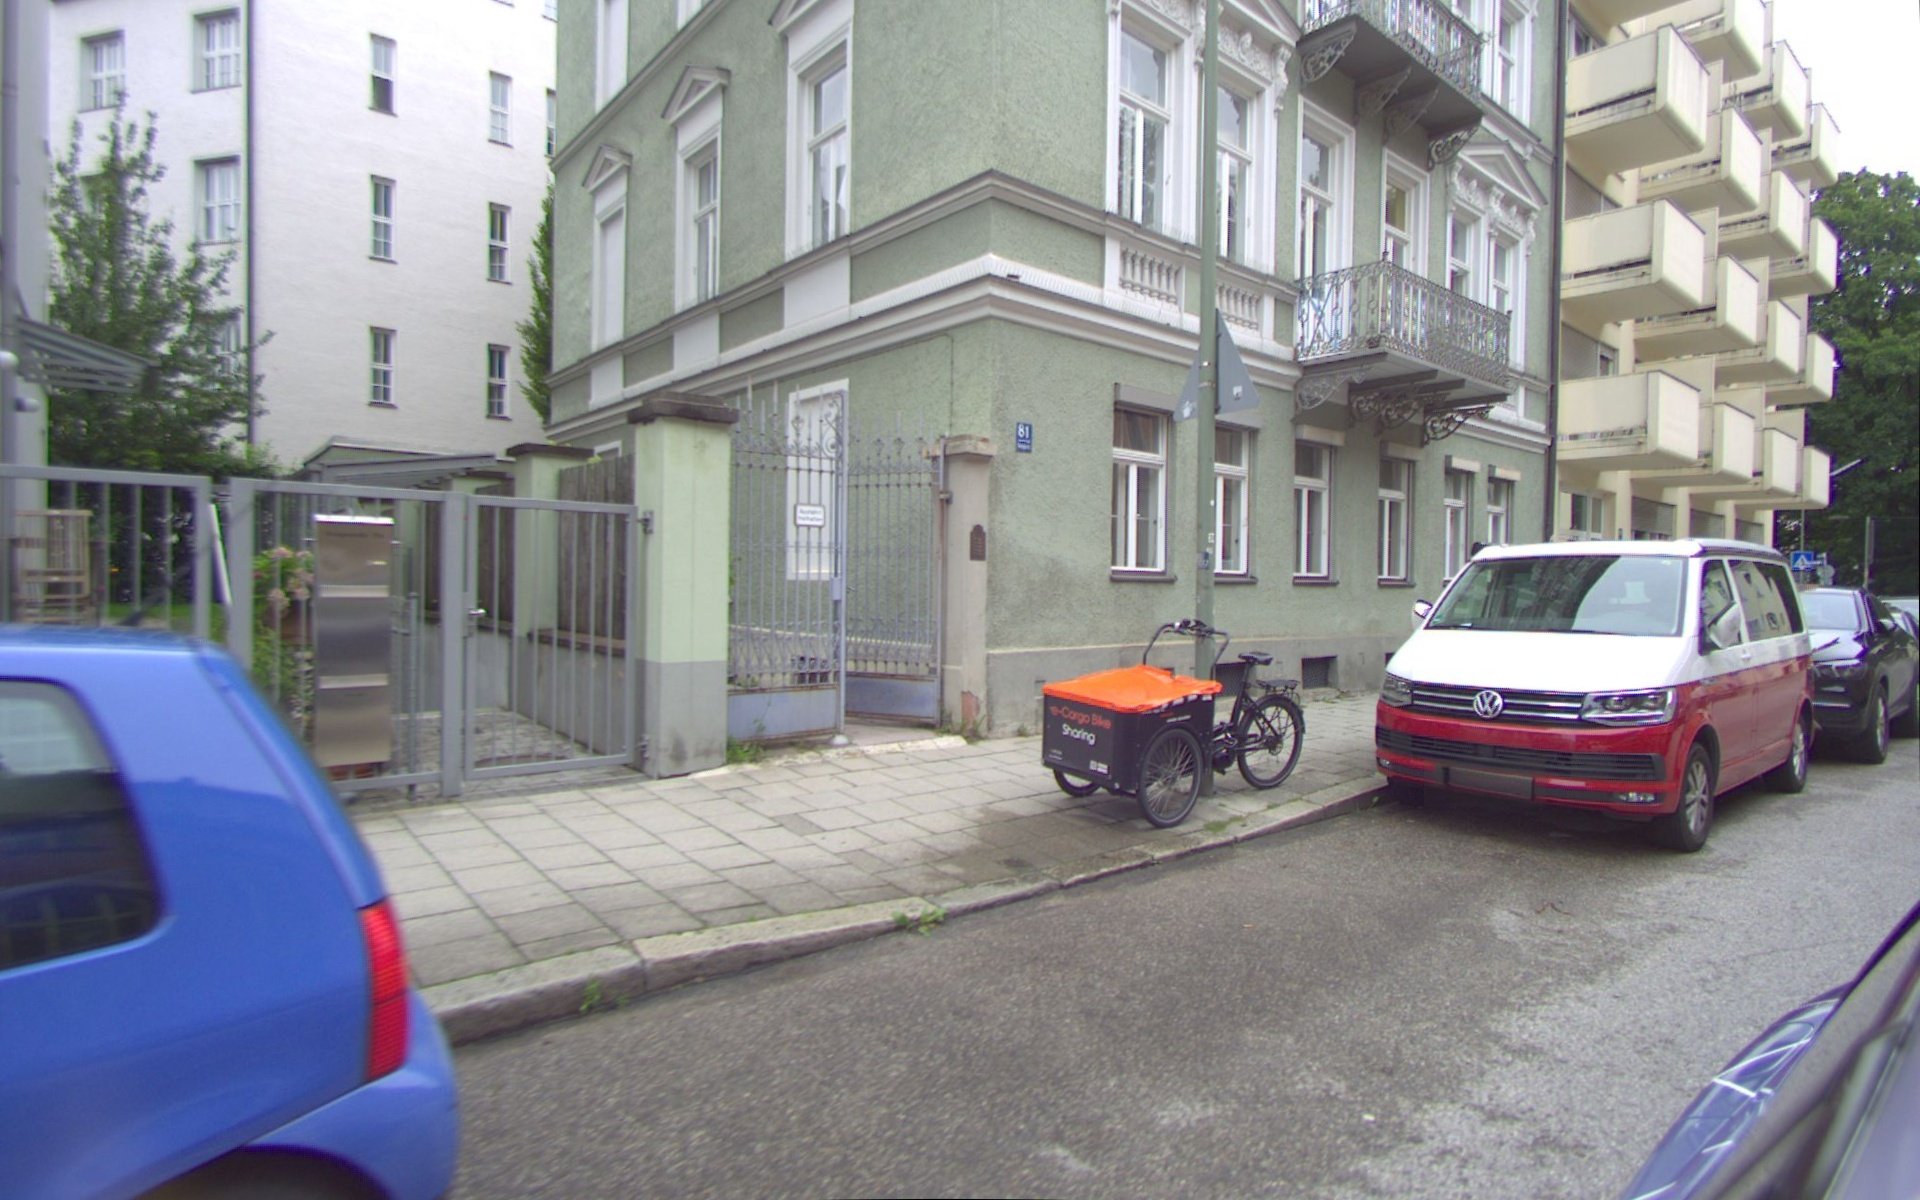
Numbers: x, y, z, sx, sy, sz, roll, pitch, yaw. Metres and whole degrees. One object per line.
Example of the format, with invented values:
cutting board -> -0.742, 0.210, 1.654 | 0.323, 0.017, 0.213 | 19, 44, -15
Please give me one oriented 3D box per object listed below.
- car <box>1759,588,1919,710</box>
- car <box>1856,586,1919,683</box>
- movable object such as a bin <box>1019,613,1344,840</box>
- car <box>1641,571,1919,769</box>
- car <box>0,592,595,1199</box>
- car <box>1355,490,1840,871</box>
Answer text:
car -> 13.306, 0.628, 14.818 | 4.261, 1.485, 1.752 | 0, 2, -42
car -> 17.849, 0.594, 18.459 | 4.189, 1.637, 1.770 | 0, 0, -42
movable object such as a bin -> 1.537, 0.735, 6.836 | 2.125, 1.207, 1.023 | 0, 3, -40
car -> 9.286, 0.606, 11.095 | 4.615, 1.732, 1.859 | 0, 0, -40
car -> -2.598, 0.708, 1.280 | 3.656, 1.441, 1.717 | 0, -1, -43
car -> 5.068, 0.439, 7.731 | 4.699, 2.057, 1.857 | 0, 0, -41
